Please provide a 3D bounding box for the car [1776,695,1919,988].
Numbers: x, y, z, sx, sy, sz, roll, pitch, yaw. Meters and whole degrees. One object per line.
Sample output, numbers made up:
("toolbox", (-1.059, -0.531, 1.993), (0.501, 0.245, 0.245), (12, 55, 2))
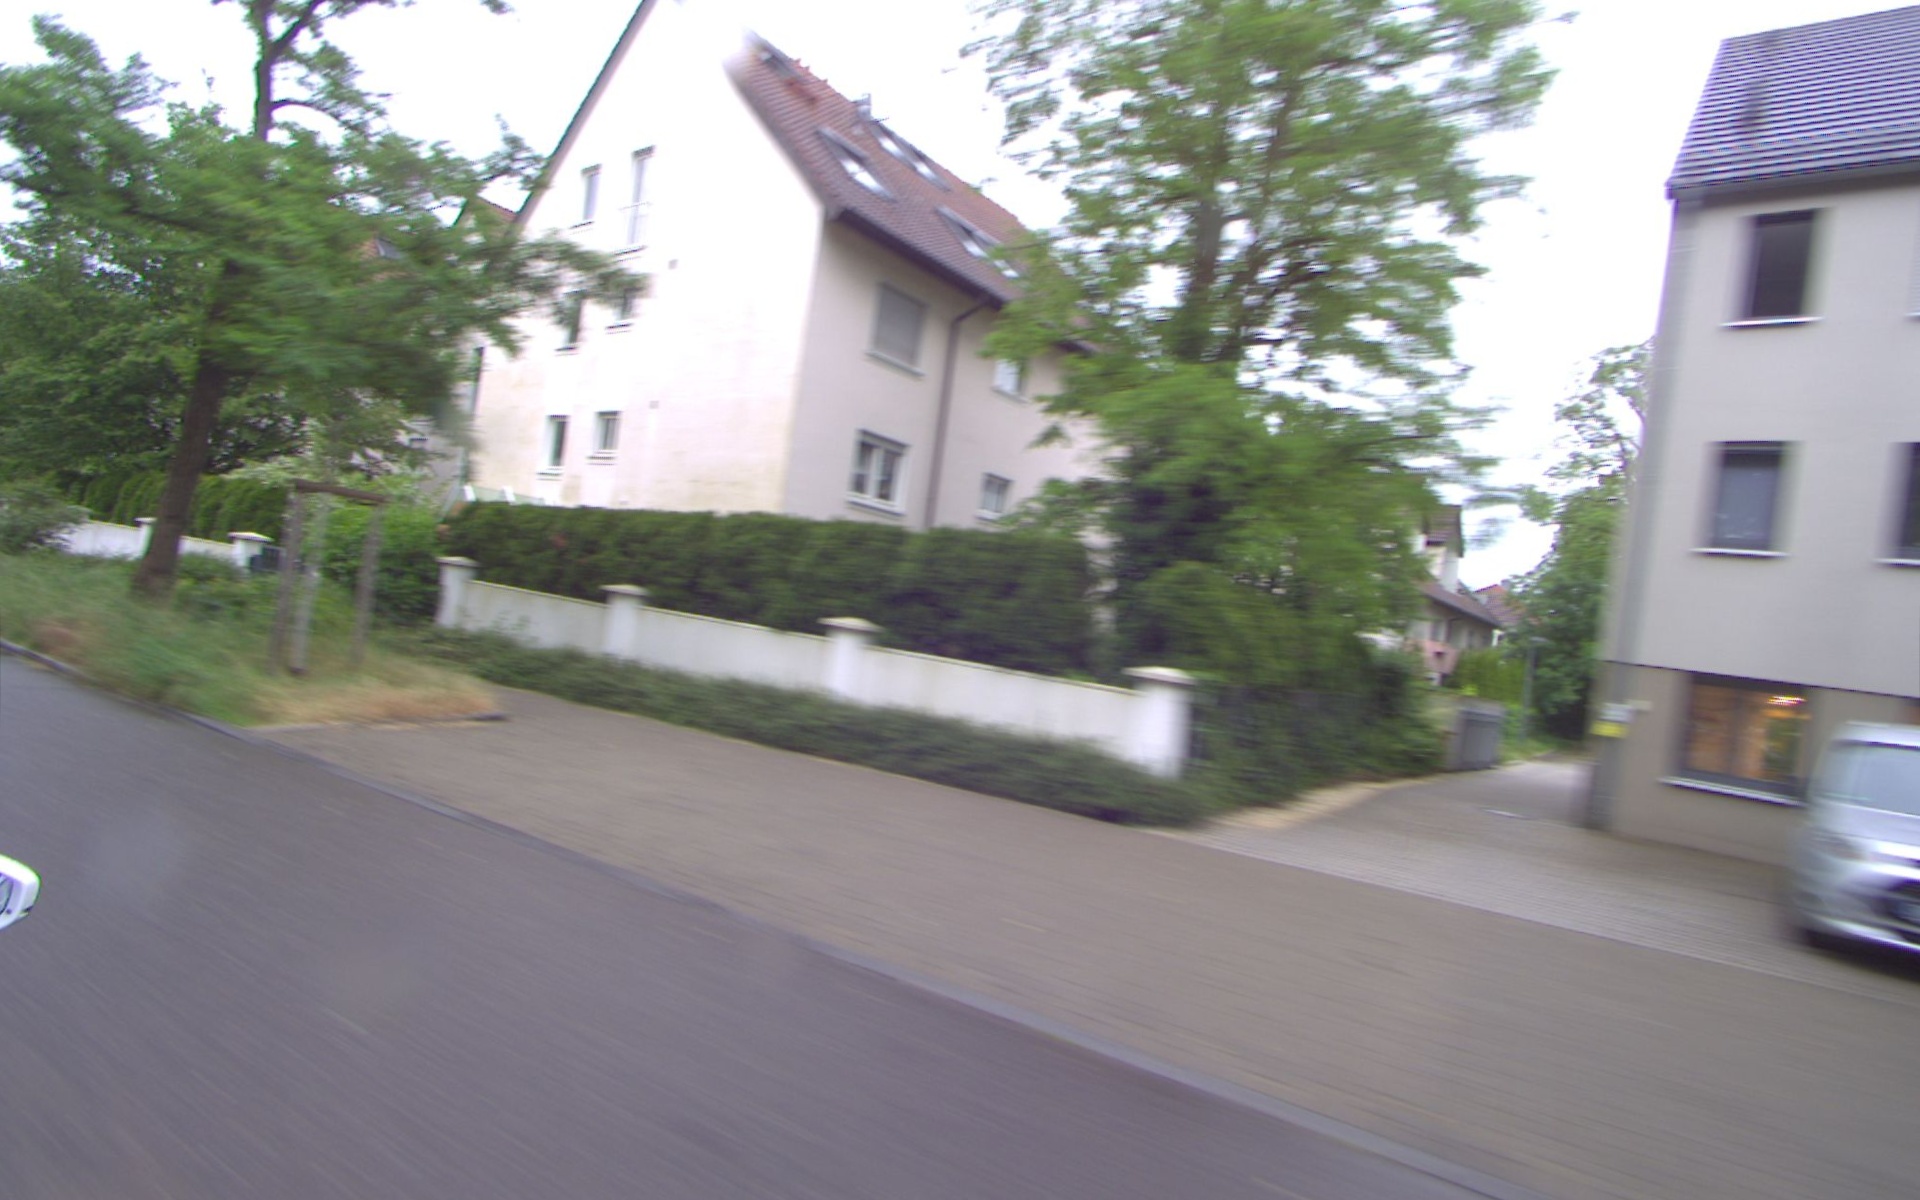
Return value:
("car", (7.957, 1.922, 8.110), (1.848, 1.838, 4.302), (6, -3, 41))
